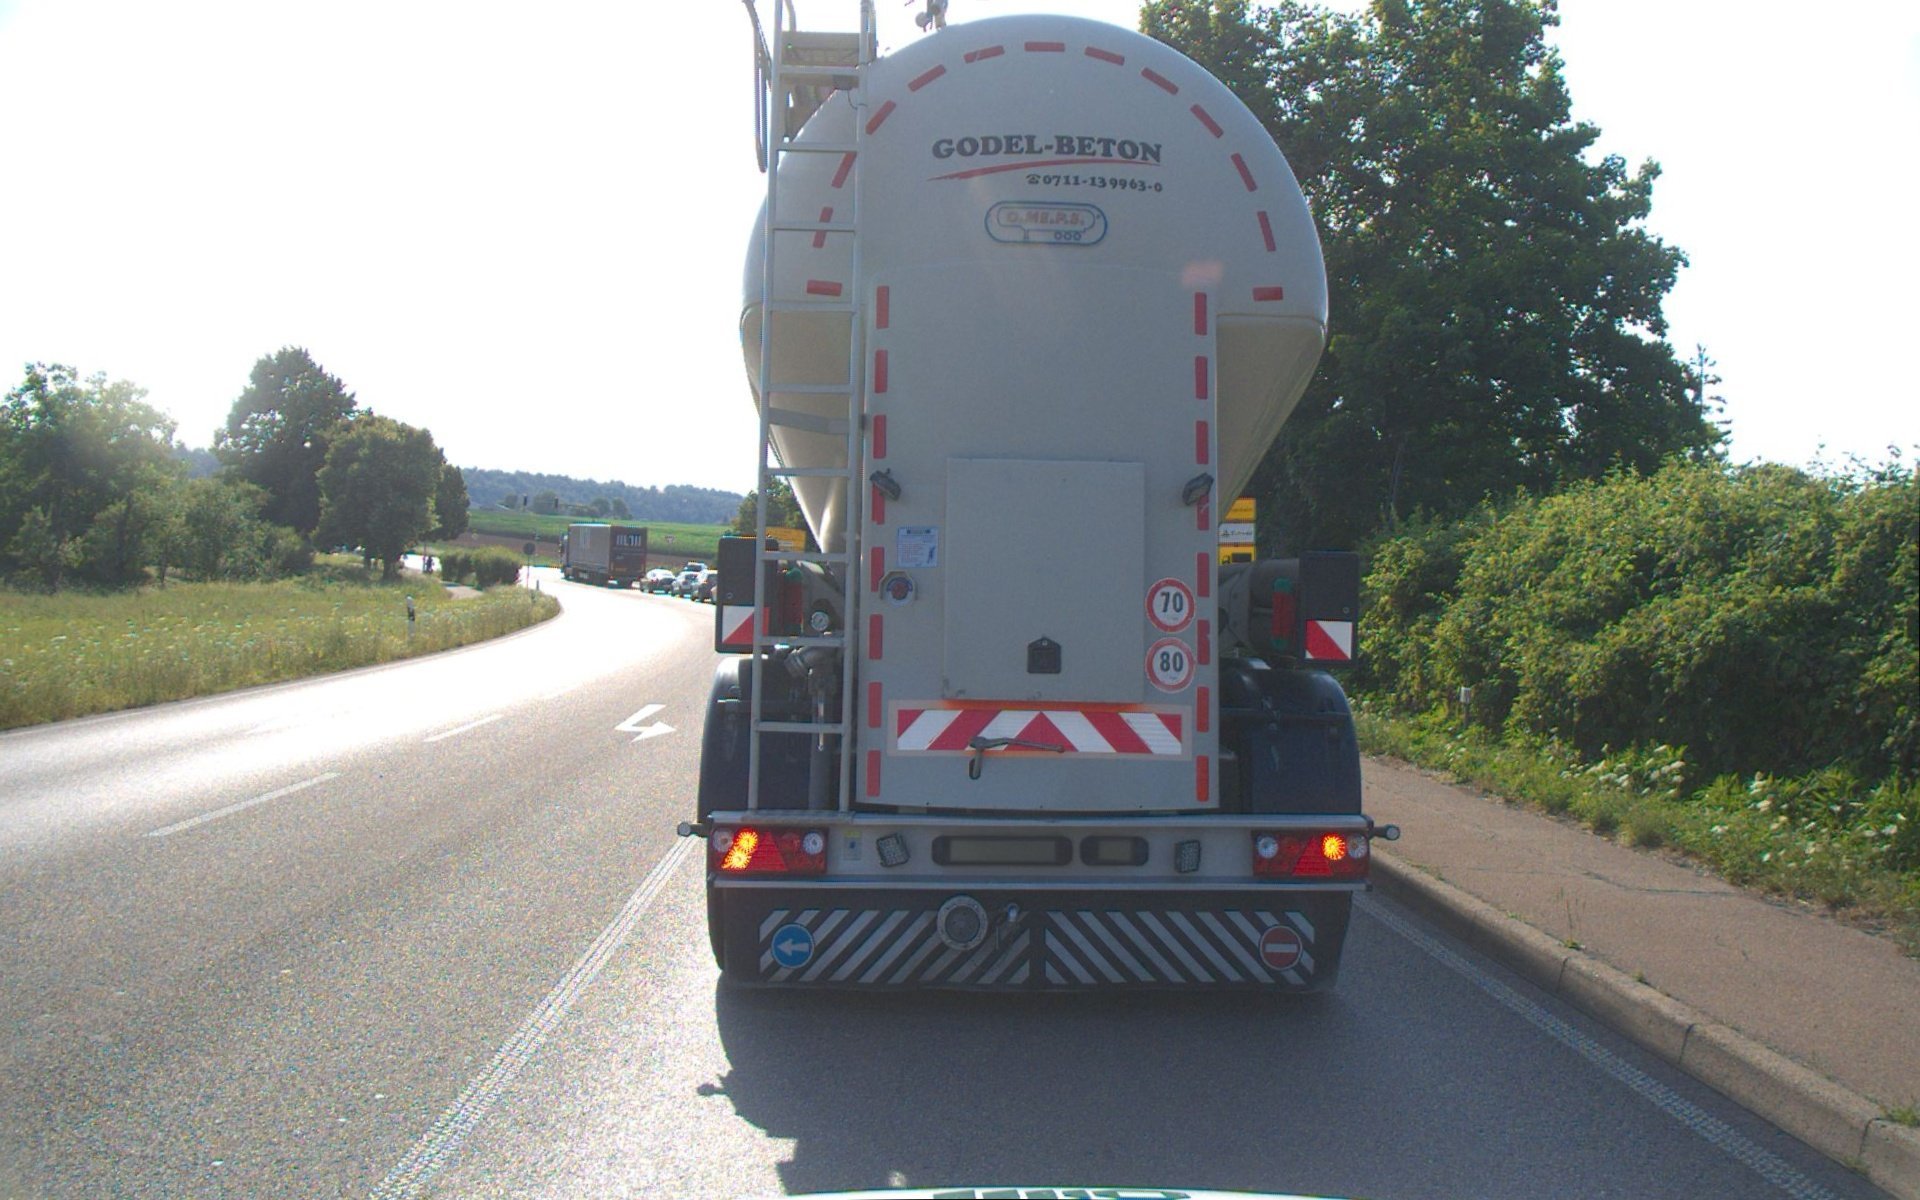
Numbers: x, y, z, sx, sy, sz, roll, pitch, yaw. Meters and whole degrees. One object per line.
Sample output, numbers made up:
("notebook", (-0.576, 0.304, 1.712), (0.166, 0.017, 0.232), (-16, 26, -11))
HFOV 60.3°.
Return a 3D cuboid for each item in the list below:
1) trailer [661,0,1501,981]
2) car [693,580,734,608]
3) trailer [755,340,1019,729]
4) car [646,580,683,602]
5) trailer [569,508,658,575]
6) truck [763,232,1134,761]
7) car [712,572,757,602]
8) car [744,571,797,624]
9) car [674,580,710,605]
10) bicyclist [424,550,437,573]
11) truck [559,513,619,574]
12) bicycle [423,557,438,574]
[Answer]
("trailer", (0.101, -0.764, 10.608), (2.852, 4.076, 9.922), (1, 0, -4))
("car", (-13.059, -0.343, 87.488), (1.556, 1.364, 3.408), (2, 0, -18))
("trailer", (-0.921, -0.804, 26.204), (2.895, 4.390, 14.173), (2, 0, -1))
("car", (-18.216, -0.546, 101.797), (1.742, 1.227, 3.408), (3, 0, -18))
("trailer", (-25.127, -4.144, 119.145), (3.331, 4.426, 14.190), (2, 0, -23))
("truck", (-0.234, -0.801, 14.969), (2.852, 4.076, 4.056), (1, 0, -5))
("car", (-11.116, -0.635, 81.349), (1.556, 1.364, 3.408), (2, 0, -18))
("car", (-7.703, -0.115, 67.058), (1.828, 2.049, 3.709), (1, 0, -11))
("car", (-15.499, -0.459, 95.622), (1.556, 1.364, 3.408), (2, 0, -18))
("bicyclist", (-35.135, -2.551, 109.762), (0.623, 1.444, 0.689), (3, 0, -9))
("truck", (-28.499, -4.280, 126.891), (3.331, 4.426, 5.664), (2, 0, -24))
("bicycle", (-35.161, -2.265, 109.830), (0.623, 1.093, 1.667), (3, 0, -9))
